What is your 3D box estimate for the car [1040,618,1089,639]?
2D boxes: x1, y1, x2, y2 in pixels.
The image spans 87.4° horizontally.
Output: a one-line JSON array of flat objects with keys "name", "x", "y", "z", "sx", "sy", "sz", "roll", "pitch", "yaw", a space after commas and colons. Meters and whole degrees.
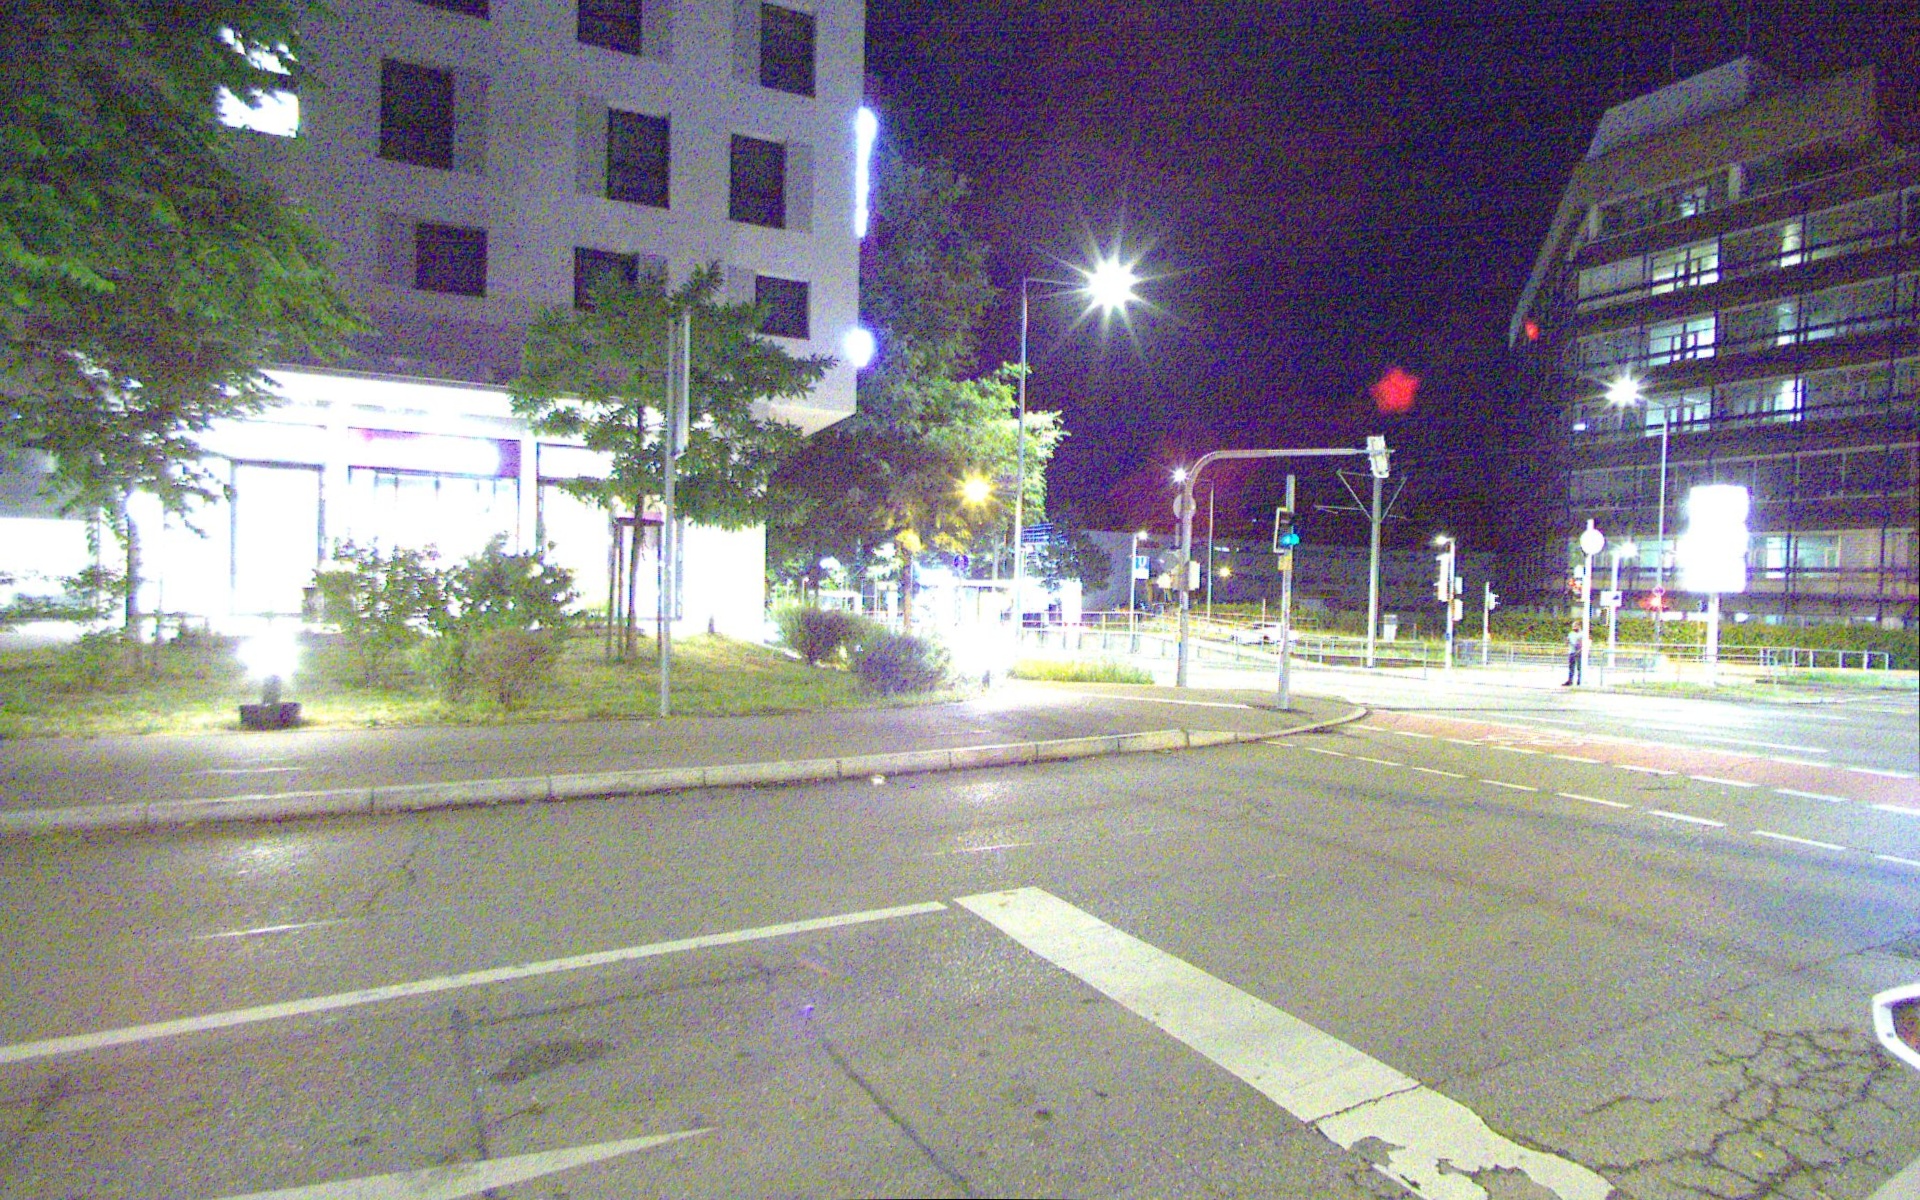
[{"name": "car", "x": 8.238, "y": 2.229, "z": 79.724, "sx": 1.755, "sy": 1.506, "sz": 4.559, "roll": 1, "pitch": 0, "yaw": -26}]

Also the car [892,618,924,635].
[{"name": "car", "x": -5.384, "y": 2.720, "z": 103.821, "sx": 1.845, "sy": 1.506, "sz": 3.822, "roll": 3, "pitch": 0, "yaw": -26}]

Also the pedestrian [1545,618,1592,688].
[{"name": "pedestrian", "x": 15.645, "y": 1.352, "z": 25.838, "sx": 0.693, "sy": 1.745, "sz": 0.679, "roll": 2, "pitch": 0, "yaw": -4}]

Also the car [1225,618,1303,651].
[{"name": "car", "x": 17.945, "y": 2.019, "z": 59.456, "sx": 1.916, "sy": 1.665, "sz": 4.382, "roll": 3, "pitch": 0, "yaw": -26}]

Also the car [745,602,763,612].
[{"name": "car", "x": -33.455, "y": 1.132, "z": 162.938, "sx": 1.845, "sy": 1.506, "sz": 3.822, "roll": 3, "pitch": 0, "yaw": -26}]
